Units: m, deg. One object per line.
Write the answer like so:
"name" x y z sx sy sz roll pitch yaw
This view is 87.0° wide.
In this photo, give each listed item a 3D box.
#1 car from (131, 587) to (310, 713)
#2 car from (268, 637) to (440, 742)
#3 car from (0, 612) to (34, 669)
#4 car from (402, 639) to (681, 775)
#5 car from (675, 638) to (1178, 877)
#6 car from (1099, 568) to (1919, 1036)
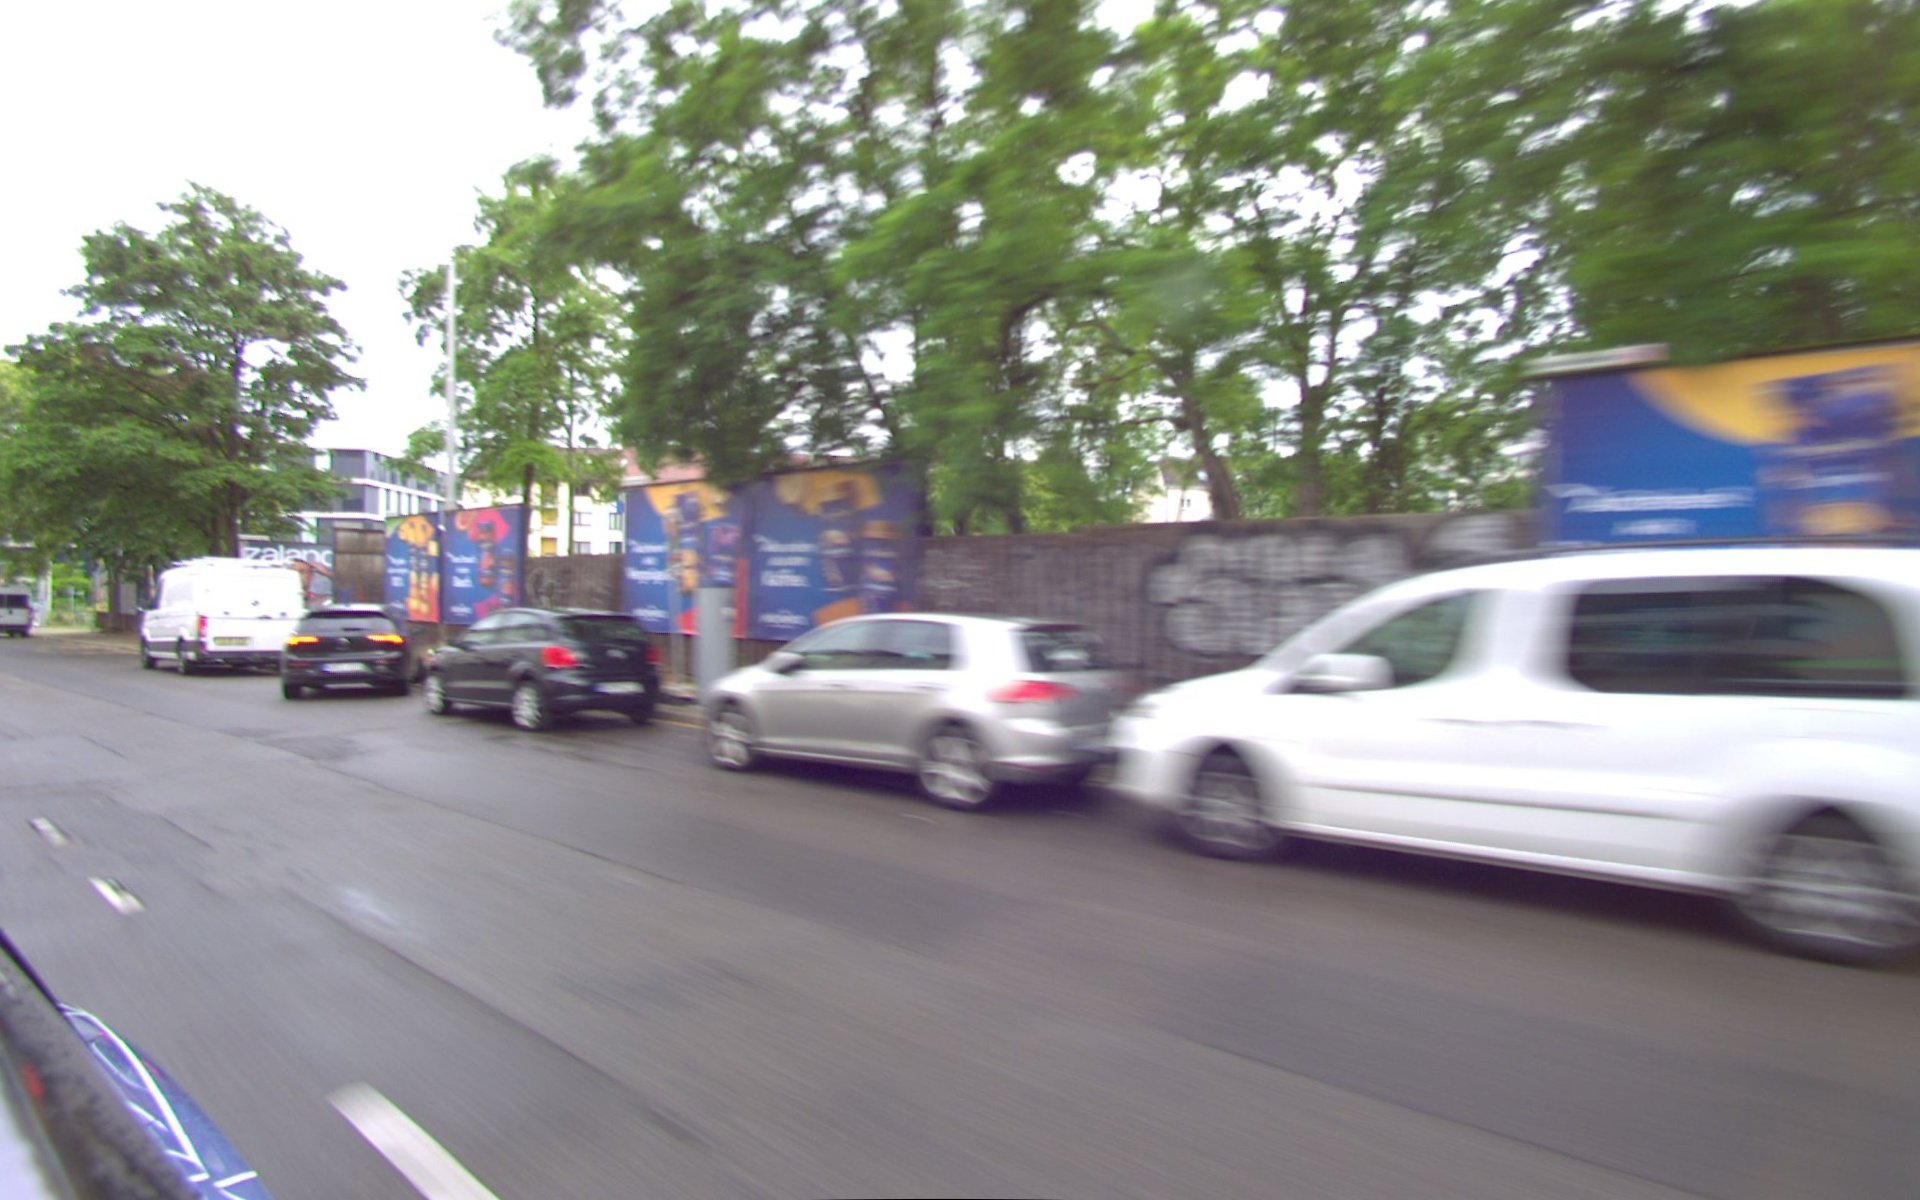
"car" -16.853 1.094 22.920 5.980 2.506 1.991 -2 -3 41
"car" -10.060 1.390 17.133 1.779 1.426 4.398 0 -1 -21
"car" -46.456 1.922 48.461 6.531 2.598 2.207 -2 -3 40
"car" -5.434 1.236 12.942 3.907 1.409 1.665 -1 -2 40
"car" -0.460 1.101 8.622 4.273 1.474 1.665 -1 -2 40
"car" 3.074 0.817 5.607 4.340 1.814 1.706 -1 -2 40
